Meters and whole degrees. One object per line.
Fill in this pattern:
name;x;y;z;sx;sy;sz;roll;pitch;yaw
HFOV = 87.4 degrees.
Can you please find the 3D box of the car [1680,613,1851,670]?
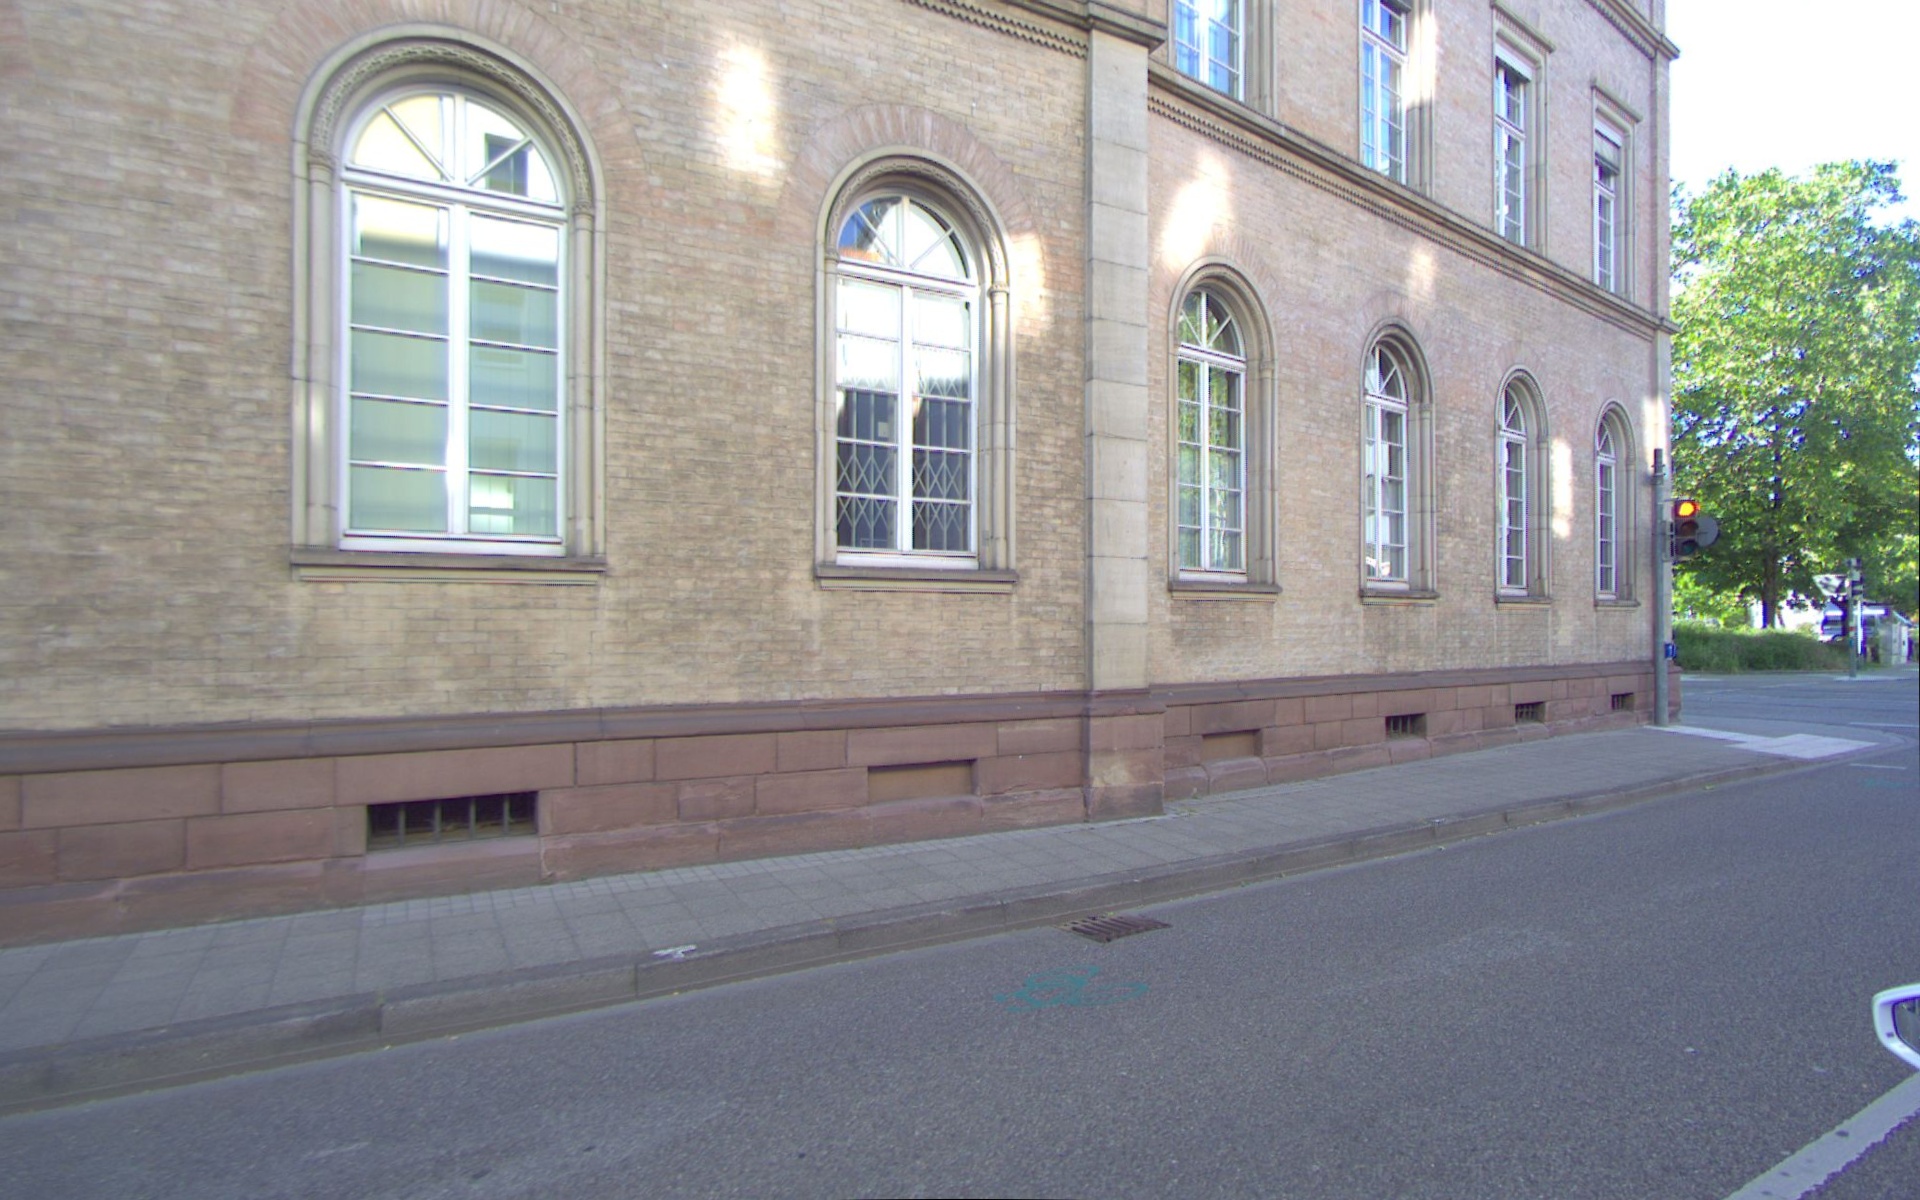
car;27.095;1.352;33.910;1.888;1.801;4.192;1;-1;-38
